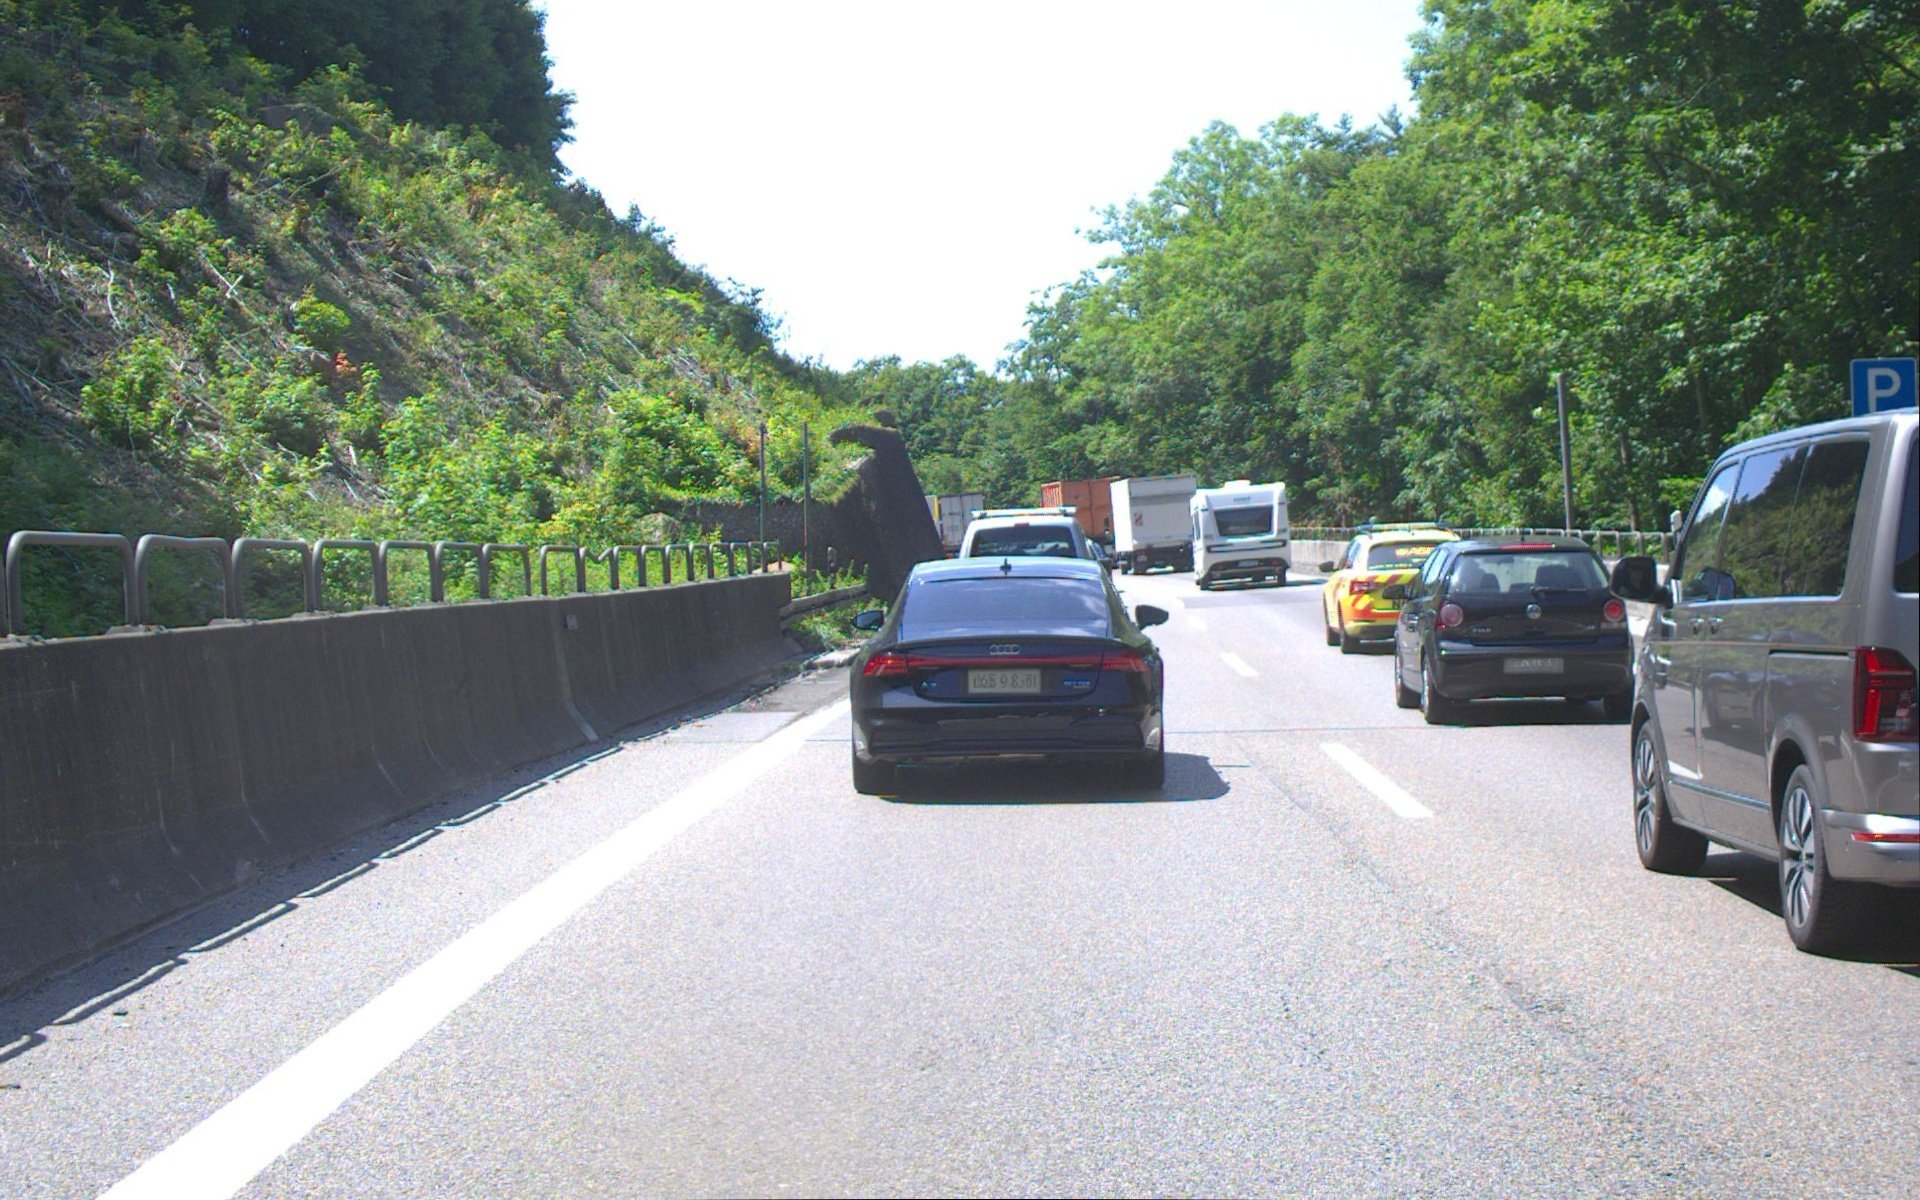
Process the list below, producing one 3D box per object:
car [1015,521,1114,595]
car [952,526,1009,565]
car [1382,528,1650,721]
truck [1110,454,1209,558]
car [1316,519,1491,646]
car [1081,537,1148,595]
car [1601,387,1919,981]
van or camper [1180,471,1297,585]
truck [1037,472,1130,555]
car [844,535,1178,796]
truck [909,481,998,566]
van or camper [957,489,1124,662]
[{"bbox_3d":[2.248,-0.931,75.173,1.895,1.579,3.771,0,1,-2],"label":"car"},{"bbox_3d":[0.835,-2.257,142.504,1.750,1.565,3.772,0,1,-9],"label":"car"},{"bbox_3d":[4.457,0.151,28.033,1.685,1.453,4.000,0,1,2],"label":"car"},{"bbox_3d":[7.213,-3.373,125.236,2.925,3.674,7.725,0,1,-1],"label":"truck"},{"bbox_3d":[5.390,-0.243,42.225,1.808,1.472,4.081,0,1,3],"label":"car"},{"bbox_3d":[4.303,-0.964,96.037,1.751,1.565,3.771,0,1,1],"label":"car"},{"bbox_3d":[3.873,0.227,13.459,1.940,1.924,4.694,0,1,1],"label":"car"},{"bbox_3d":[7.226,-1.875,89.807,2.603,2.845,6.336,0,1,1],"label":"van or camper"},{"bbox_3d":[5.198,-3.647,146.282,3.163,3.456,8.223,0,1,-3],"label":"truck"},{"bbox_3d":[0.300,0.336,21.870,1.905,1.484,4.379,0,1,0],"label":"car"},{"bbox_3d":[-0.397,-4.127,186.606,3.709,4.488,7.726,0,1,-8],"label":"truck"},{"bbox_3d":[0.988,-0.310,40.534,1.853,1.935,4.165,0,1,3],"label":"van or camper"}]
